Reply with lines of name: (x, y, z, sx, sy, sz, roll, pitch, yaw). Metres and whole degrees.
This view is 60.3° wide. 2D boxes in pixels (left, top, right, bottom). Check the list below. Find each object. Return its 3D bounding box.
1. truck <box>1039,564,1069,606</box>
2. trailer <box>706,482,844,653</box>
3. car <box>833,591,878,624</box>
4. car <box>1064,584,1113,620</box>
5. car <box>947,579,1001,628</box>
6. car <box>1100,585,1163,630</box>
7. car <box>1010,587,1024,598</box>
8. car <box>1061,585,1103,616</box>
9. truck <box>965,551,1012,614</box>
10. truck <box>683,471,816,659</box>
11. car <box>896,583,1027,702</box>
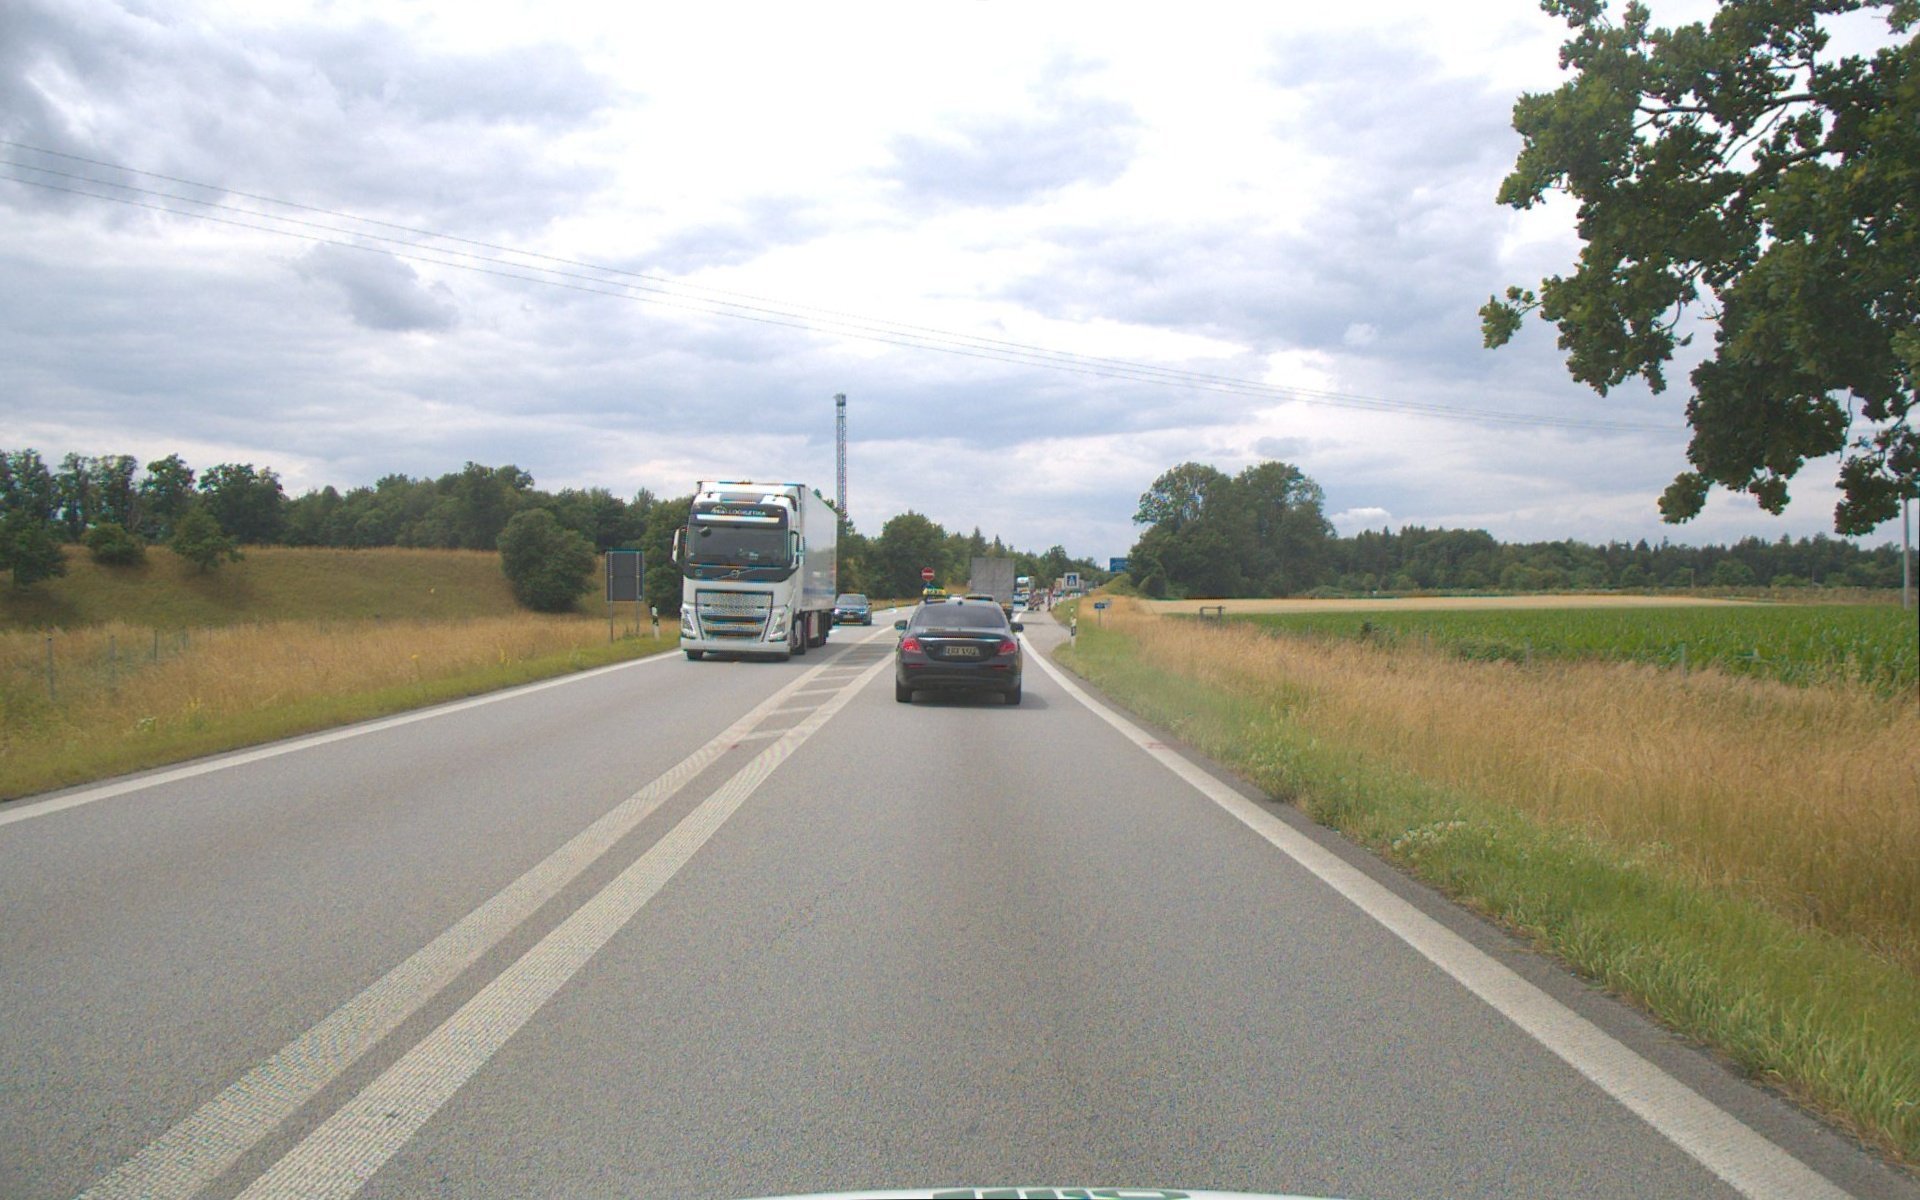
truck: (8.390, -1.324, 147.792, 1.954, 3.587, 4.587, 1, 0, -5)
trailer: (-4.875, -0.849, 46.041, 2.439, 4.065, 13.075, 0, 1, 0)
car: (-5.075, 0.370, 81.066, 1.819, 1.505, 5.197, 2, 0, 0)
car: (6.299, 0.080, 81.513, 1.760, 1.691, 3.996, 2, 0, -5)
car: (0.580, 0.147, 72.916, 1.955, 2.049, 3.996, 2, 0, -5)
car: (6.782, 0.289, 65.802, 1.760, 1.691, 3.996, 2, 0, -5)
car: (7.225, -0.927, 210.458, 1.615, 1.420, 3.705, 2, 0, 0)
car: (6.943, 0.025, 94.210, 1.760, 1.691, 3.996, 2, 0, -5)
truck: (1.725, -1.001, 97.549, 2.533, 3.586, 4.814, 1, 0, 3)
truck: (-4.804, -0.789, 38.580, 2.439, 4.065, 5.204, 0, 1, -1)
car: (0.089, 0.585, 24.617, 1.758, 1.587, 4.001, 2, 0, 2)
